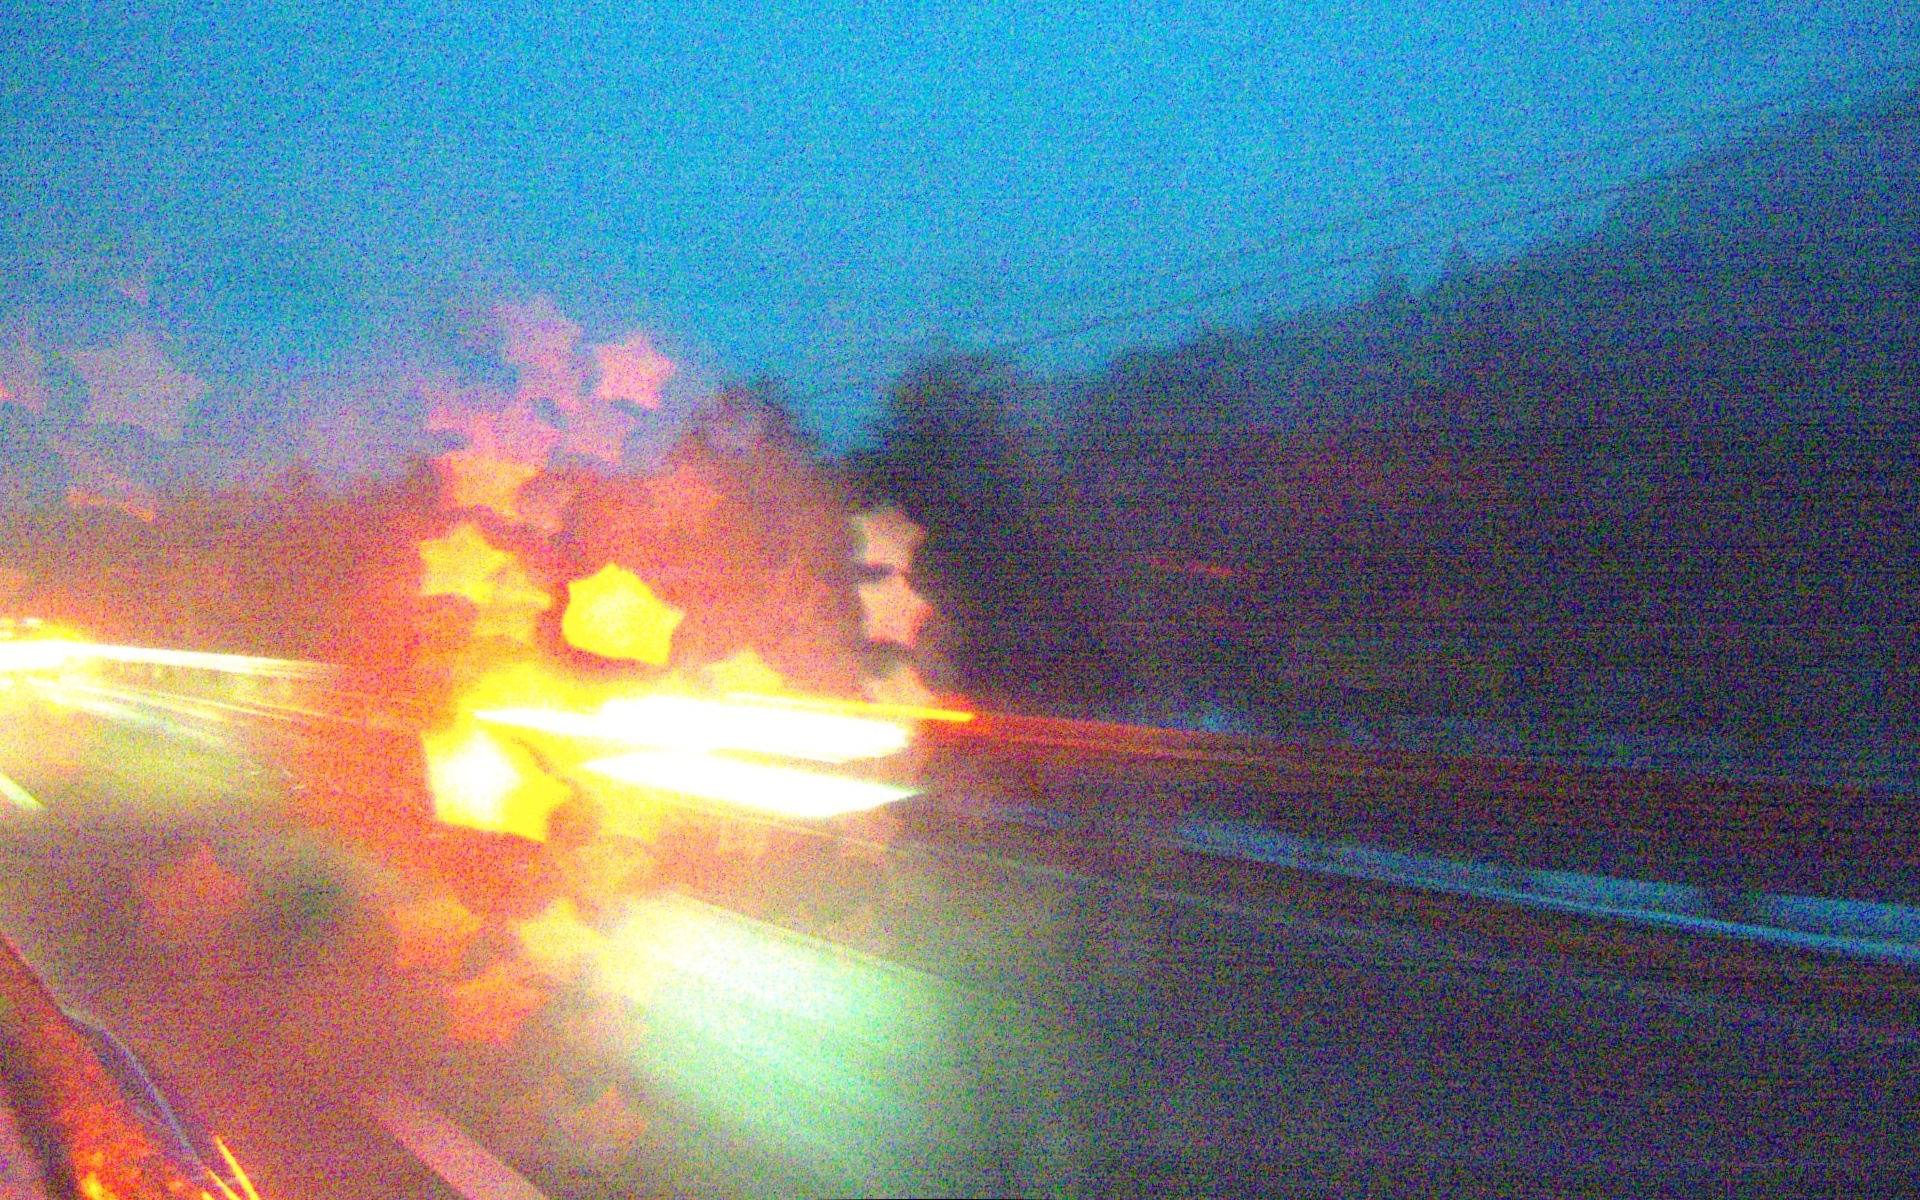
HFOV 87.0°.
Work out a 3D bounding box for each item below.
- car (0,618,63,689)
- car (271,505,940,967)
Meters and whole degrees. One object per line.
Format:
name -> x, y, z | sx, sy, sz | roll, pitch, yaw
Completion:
car -> -22.206, 1.197, 23.356 | 4.248, 1.491, 1.824 | -1, 0, 43
car -> -2.356, 0.551, 6.115 | 4.244, 1.806, 1.973 | -1, 0, 41
